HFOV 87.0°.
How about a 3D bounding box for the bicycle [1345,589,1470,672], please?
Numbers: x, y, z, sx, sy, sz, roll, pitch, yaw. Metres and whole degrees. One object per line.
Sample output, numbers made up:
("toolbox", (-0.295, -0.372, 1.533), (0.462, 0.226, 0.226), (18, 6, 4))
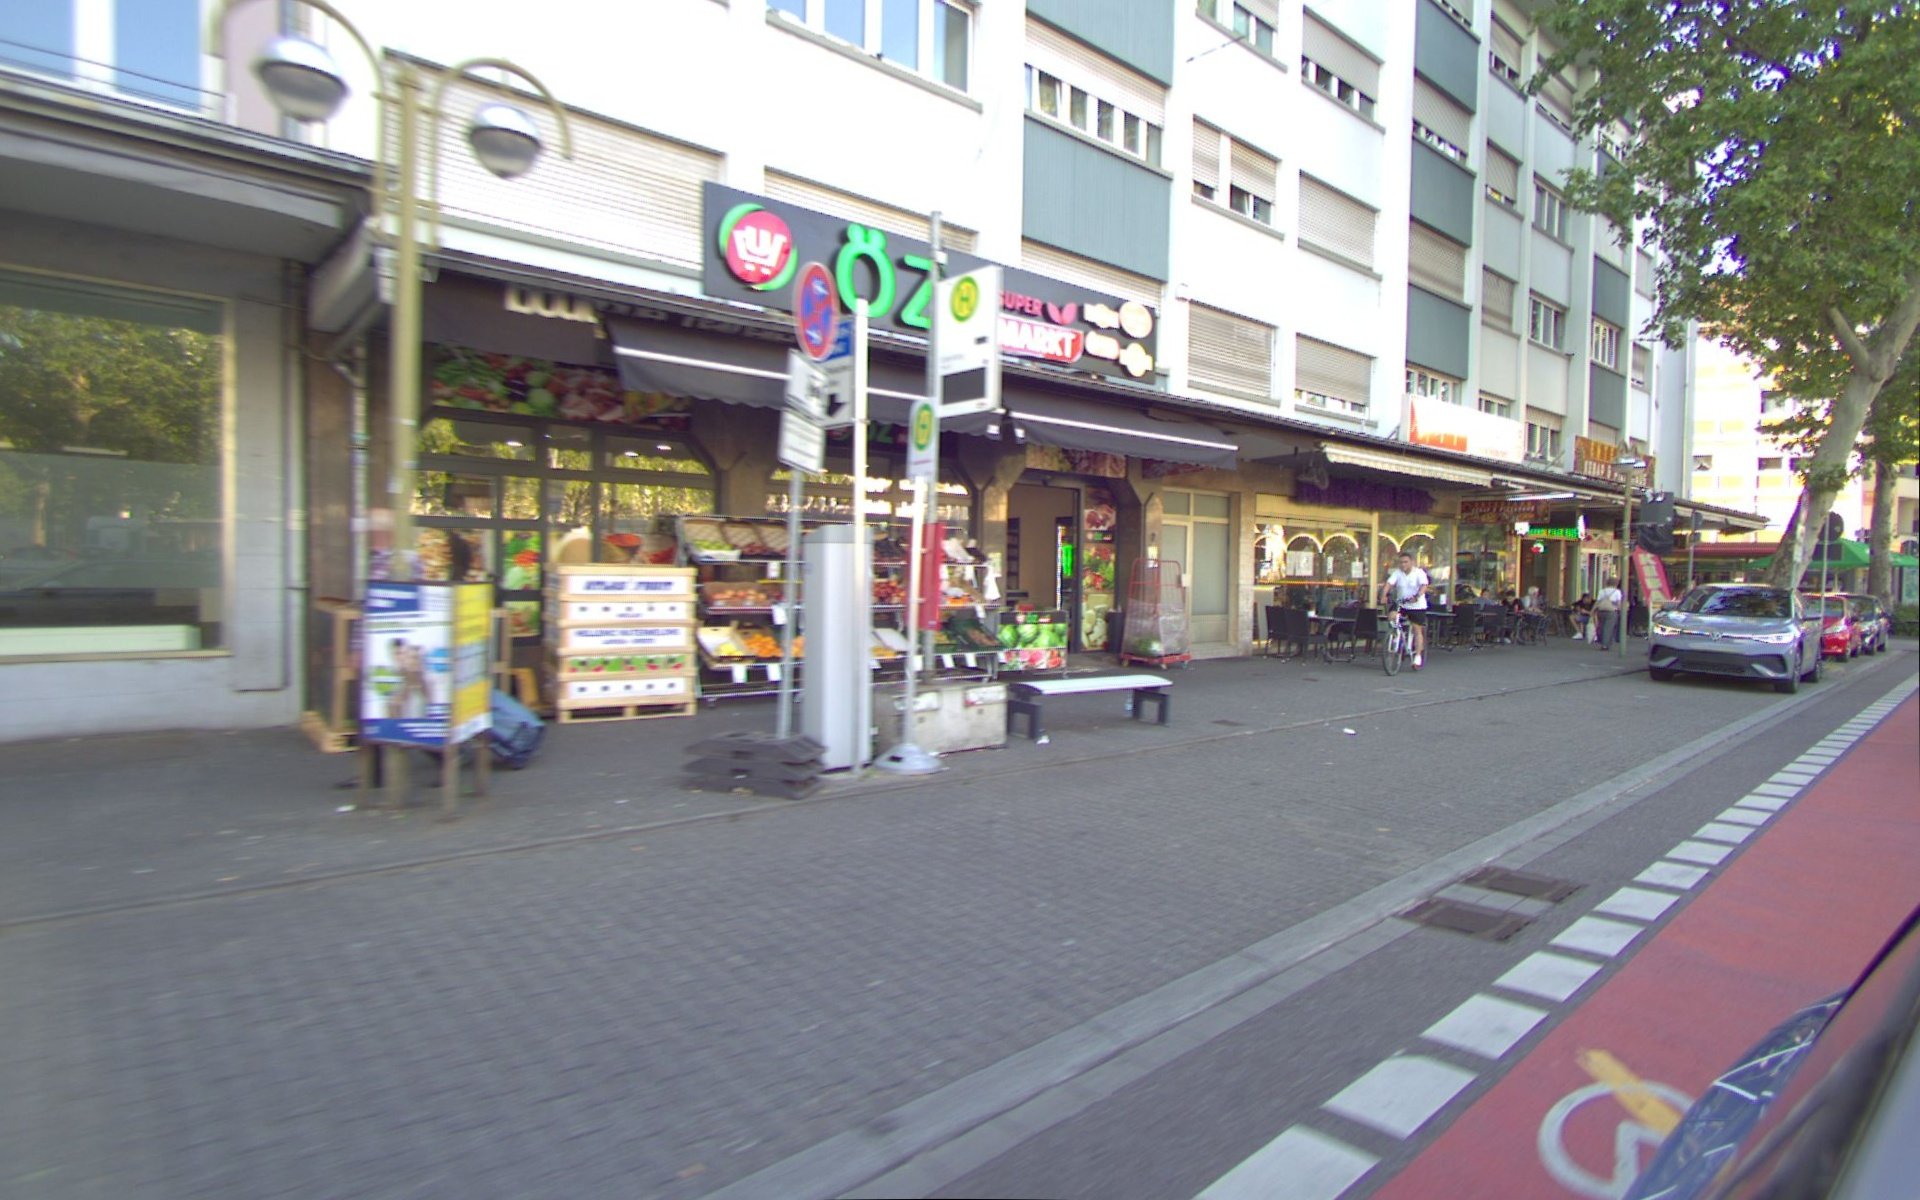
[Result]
("bicycle", (6.722, 0.418, 15.147), (2.227, 1.117, 0.778), (0, 4, -40))

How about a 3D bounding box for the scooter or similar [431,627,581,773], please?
("scooter or similar", (-3.028, 0.637, 6.781), (0.572, 0.854, 0.726), (1, 2, 28))

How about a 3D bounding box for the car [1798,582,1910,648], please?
("car", (23.068, 0.334, 26.072), (3.735, 1.497, 1.658), (0, 3, -42))

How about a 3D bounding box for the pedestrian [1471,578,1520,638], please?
("pedestrian", (11.688, 0.163, 22.087), (0.697, 1.242, 0.678), (0, 3, -38))

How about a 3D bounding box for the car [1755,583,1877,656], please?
("car", (19.765, 0.385, 23.308), (3.919, 1.460, 1.732), (-1, 3, -44))

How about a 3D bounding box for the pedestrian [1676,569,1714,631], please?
("pedestrian", (19.310, -0.006, 26.580), (0.630, 1.579, 0.584), (0, 4, -39))

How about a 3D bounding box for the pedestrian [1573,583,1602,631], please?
("pedestrian", (15.573, 0.171, 25.125), (0.514, 1.148, 0.504), (3, 2, 27))

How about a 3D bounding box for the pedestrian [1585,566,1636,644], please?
("pedestrian", (13.928, 0.099, 21.663), (0.666, 1.605, 0.709), (0, 3, -42))

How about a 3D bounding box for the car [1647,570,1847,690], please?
("car", (13.041, 0.385, 16.652), (4.713, 1.617, 1.920), (-1, 3, -44))

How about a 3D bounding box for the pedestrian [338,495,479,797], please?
("pedestrian", (-3.325, 0.247, 6.103), (0.644, 1.694, 0.548), (2, 2, 39))

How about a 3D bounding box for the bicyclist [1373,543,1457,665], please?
("bicyclist", (6.824, 0.043, 15.191), (0.815, 1.729, 0.771), (0, 4, -40))

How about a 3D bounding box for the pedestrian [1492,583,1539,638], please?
("pedestrian", (12.440, 0.222, 22.674), (0.698, 1.191, 0.677), (0, 3, -41))

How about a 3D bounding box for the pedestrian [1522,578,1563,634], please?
("pedestrian", (13.831, 0.141, 24.032), (0.596, 1.281, 0.646), (0, 3, -41))

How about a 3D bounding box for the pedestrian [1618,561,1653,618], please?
("pedestrian", (20.631, -0.331, 30.900), (0.666, 1.730, 0.709), (0, 2, -41))

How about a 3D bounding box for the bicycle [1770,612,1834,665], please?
("bicycle", (16.201, 0.717, 19.456), (2.004, 0.895, 0.625), (0, 4, -42))
